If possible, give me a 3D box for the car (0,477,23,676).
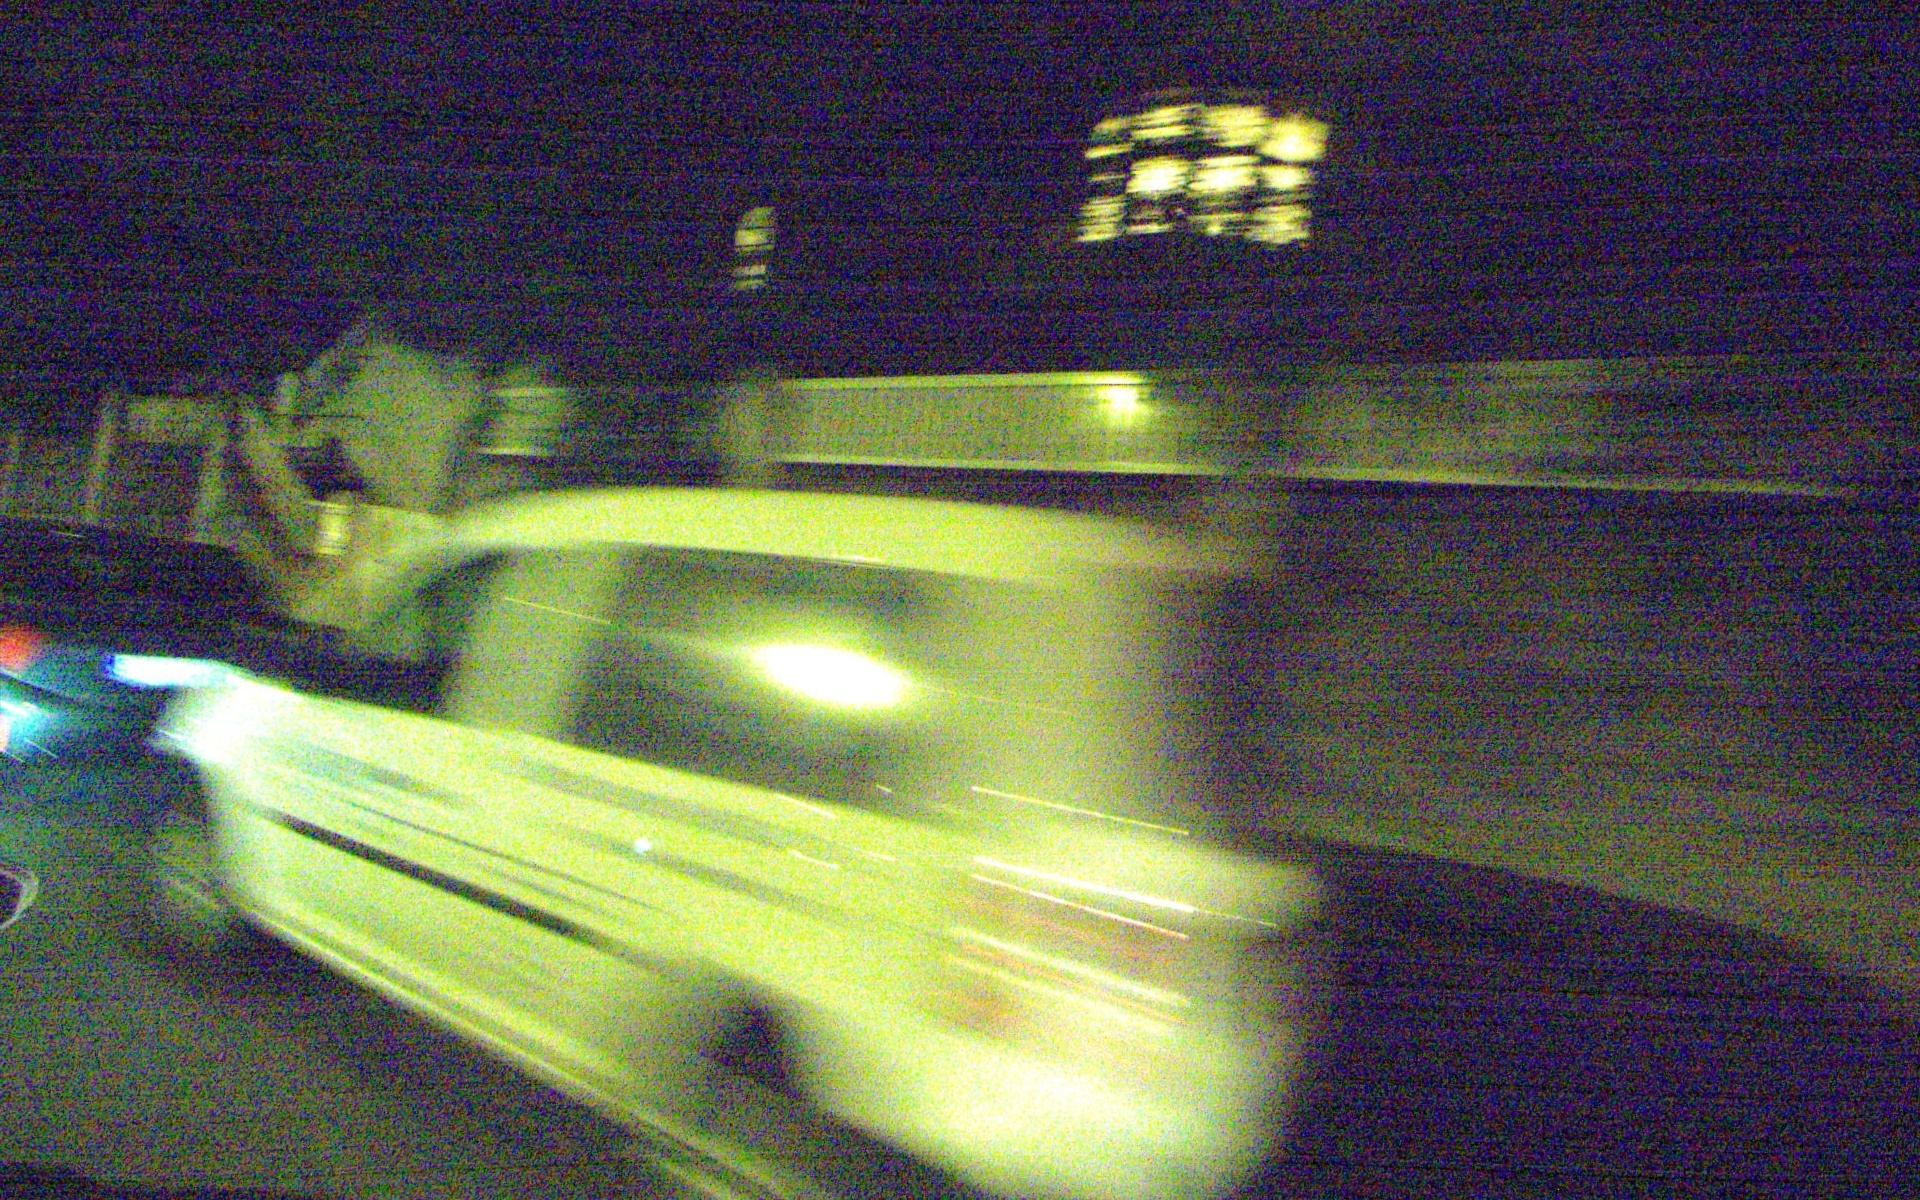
[{"bbox_3d":[-10.363,-0.444,8.965,4.544,1.683,1.834,6,-1,34],"label":"car"}]

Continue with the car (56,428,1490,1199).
[{"bbox_3d":[-0.999,0.543,3.405,4.679,1.782,1.722,7,-1,32],"label":"car"}]

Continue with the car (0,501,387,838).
[{"bbox_3d":[-5.638,0.189,6.159,4.185,1.487,1.748,7,-2,31],"label":"car"}]
